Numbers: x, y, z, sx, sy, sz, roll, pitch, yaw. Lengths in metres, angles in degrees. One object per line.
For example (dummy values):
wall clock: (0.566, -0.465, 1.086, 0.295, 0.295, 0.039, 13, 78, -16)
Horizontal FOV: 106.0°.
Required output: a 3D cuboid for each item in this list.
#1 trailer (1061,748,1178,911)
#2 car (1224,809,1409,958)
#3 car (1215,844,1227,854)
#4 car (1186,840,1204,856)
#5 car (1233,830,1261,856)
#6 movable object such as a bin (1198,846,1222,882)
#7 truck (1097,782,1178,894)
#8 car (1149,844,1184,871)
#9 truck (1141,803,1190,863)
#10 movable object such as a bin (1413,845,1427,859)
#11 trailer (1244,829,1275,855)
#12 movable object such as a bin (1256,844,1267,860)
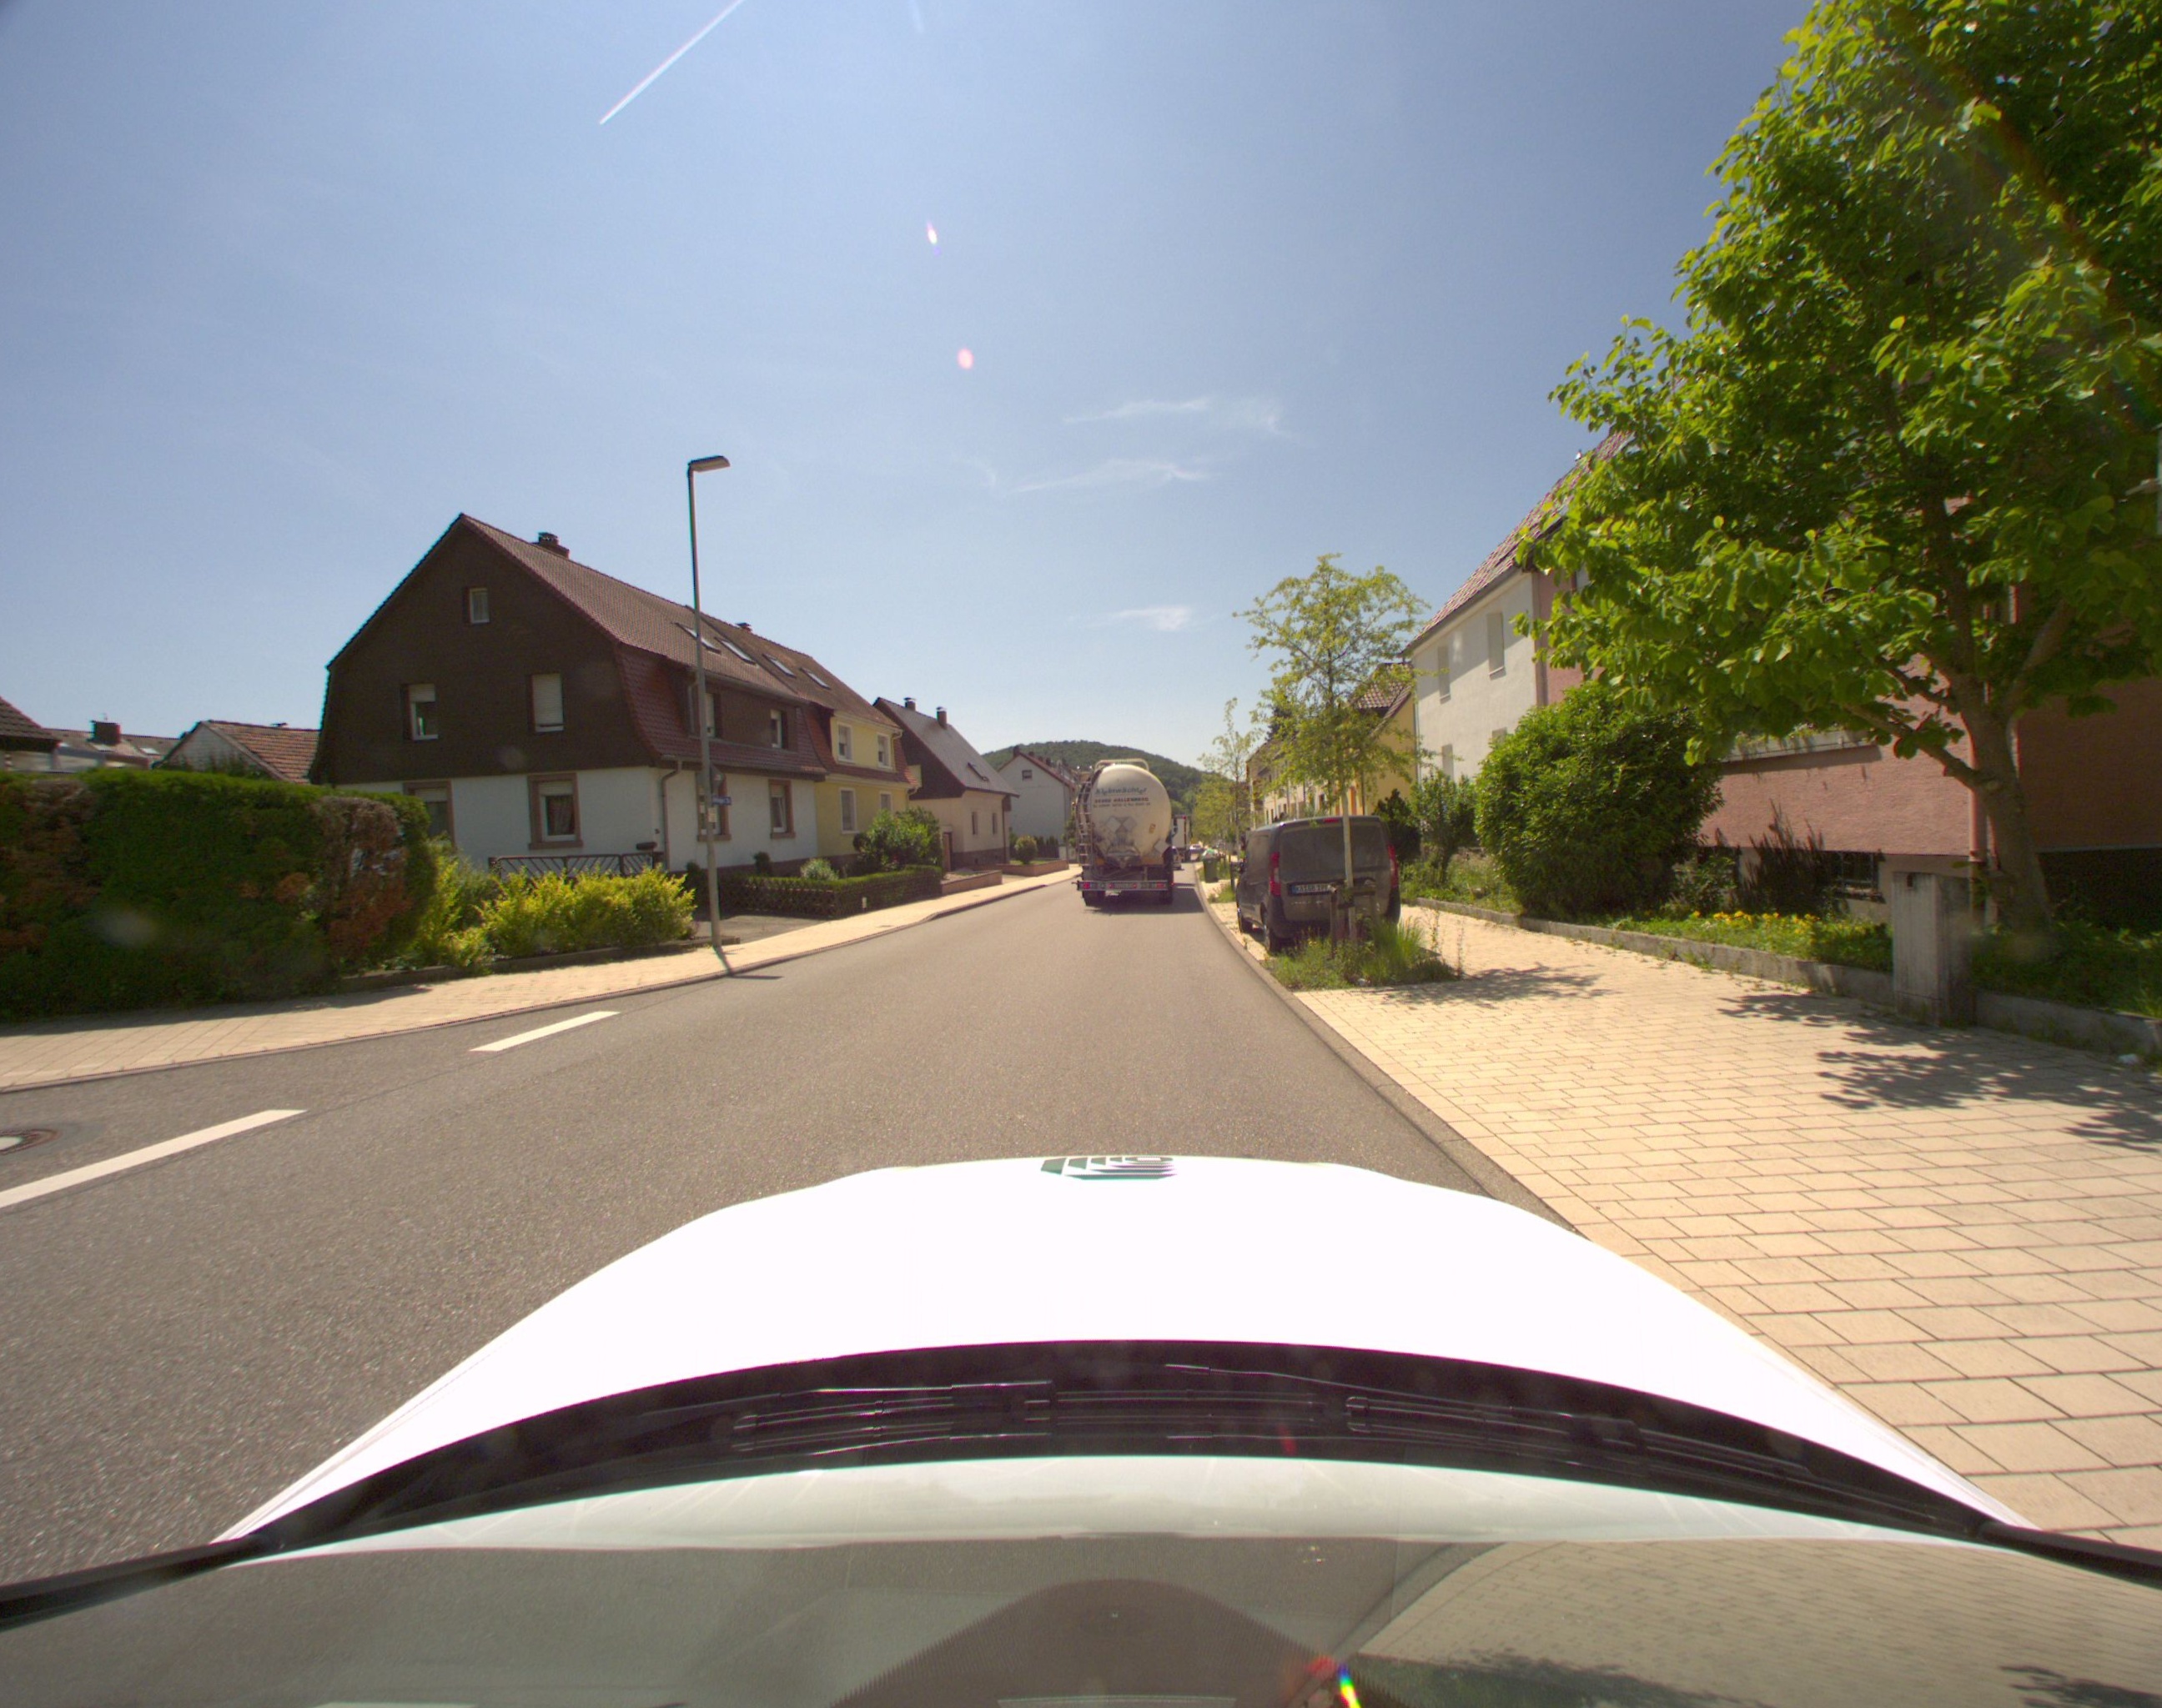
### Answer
trailer: (1.558, -0.643, 25.522, 2.781, 4.001, 10.344, -1, 0, 7)
car: (3.471, 0.359, 12.944, 1.846, 1.842, 4.677, -3, 0, 4)
car: (23.993, -0.881, 139.588, 1.780, 1.541, 4.531, -3, 0, 9)
car: (14.642, -0.794, 104.943, 1.984, 1.821, 4.007, -4, 0, 6)
car: (14.543, -0.965, 71.618, 1.842, 1.970, 4.784, -7, 0, 7)
movable object such as a bin: (5.391, 0.424, 33.970, 0.788, 1.395, 0.926, -6, 0, 5)
truck: (2.346, -0.613, 31.889, 2.794, 3.936, 6.110, -1, 1, 6)
car: (5.604, 0.201, 52.822, 1.897, 1.554, 4.011, -3, 0, 10)
truck: (7.728, -1.859, 74.405, 3.891, 4.895, 9.812, -3, 0, 6)
movable object such as a bin: (13.645, -0.076, 32.804, 0.451, 0.571, 0.376, -1, 0, 8)
trailer: (14.557, -0.996, 66.519, 2.285, 2.013, 1.309, -2, 0, -40)
movable object such as a bin: (12.724, -0.147, 57.364, 0.679, 1.115, 0.815, -6, -1, 13)
